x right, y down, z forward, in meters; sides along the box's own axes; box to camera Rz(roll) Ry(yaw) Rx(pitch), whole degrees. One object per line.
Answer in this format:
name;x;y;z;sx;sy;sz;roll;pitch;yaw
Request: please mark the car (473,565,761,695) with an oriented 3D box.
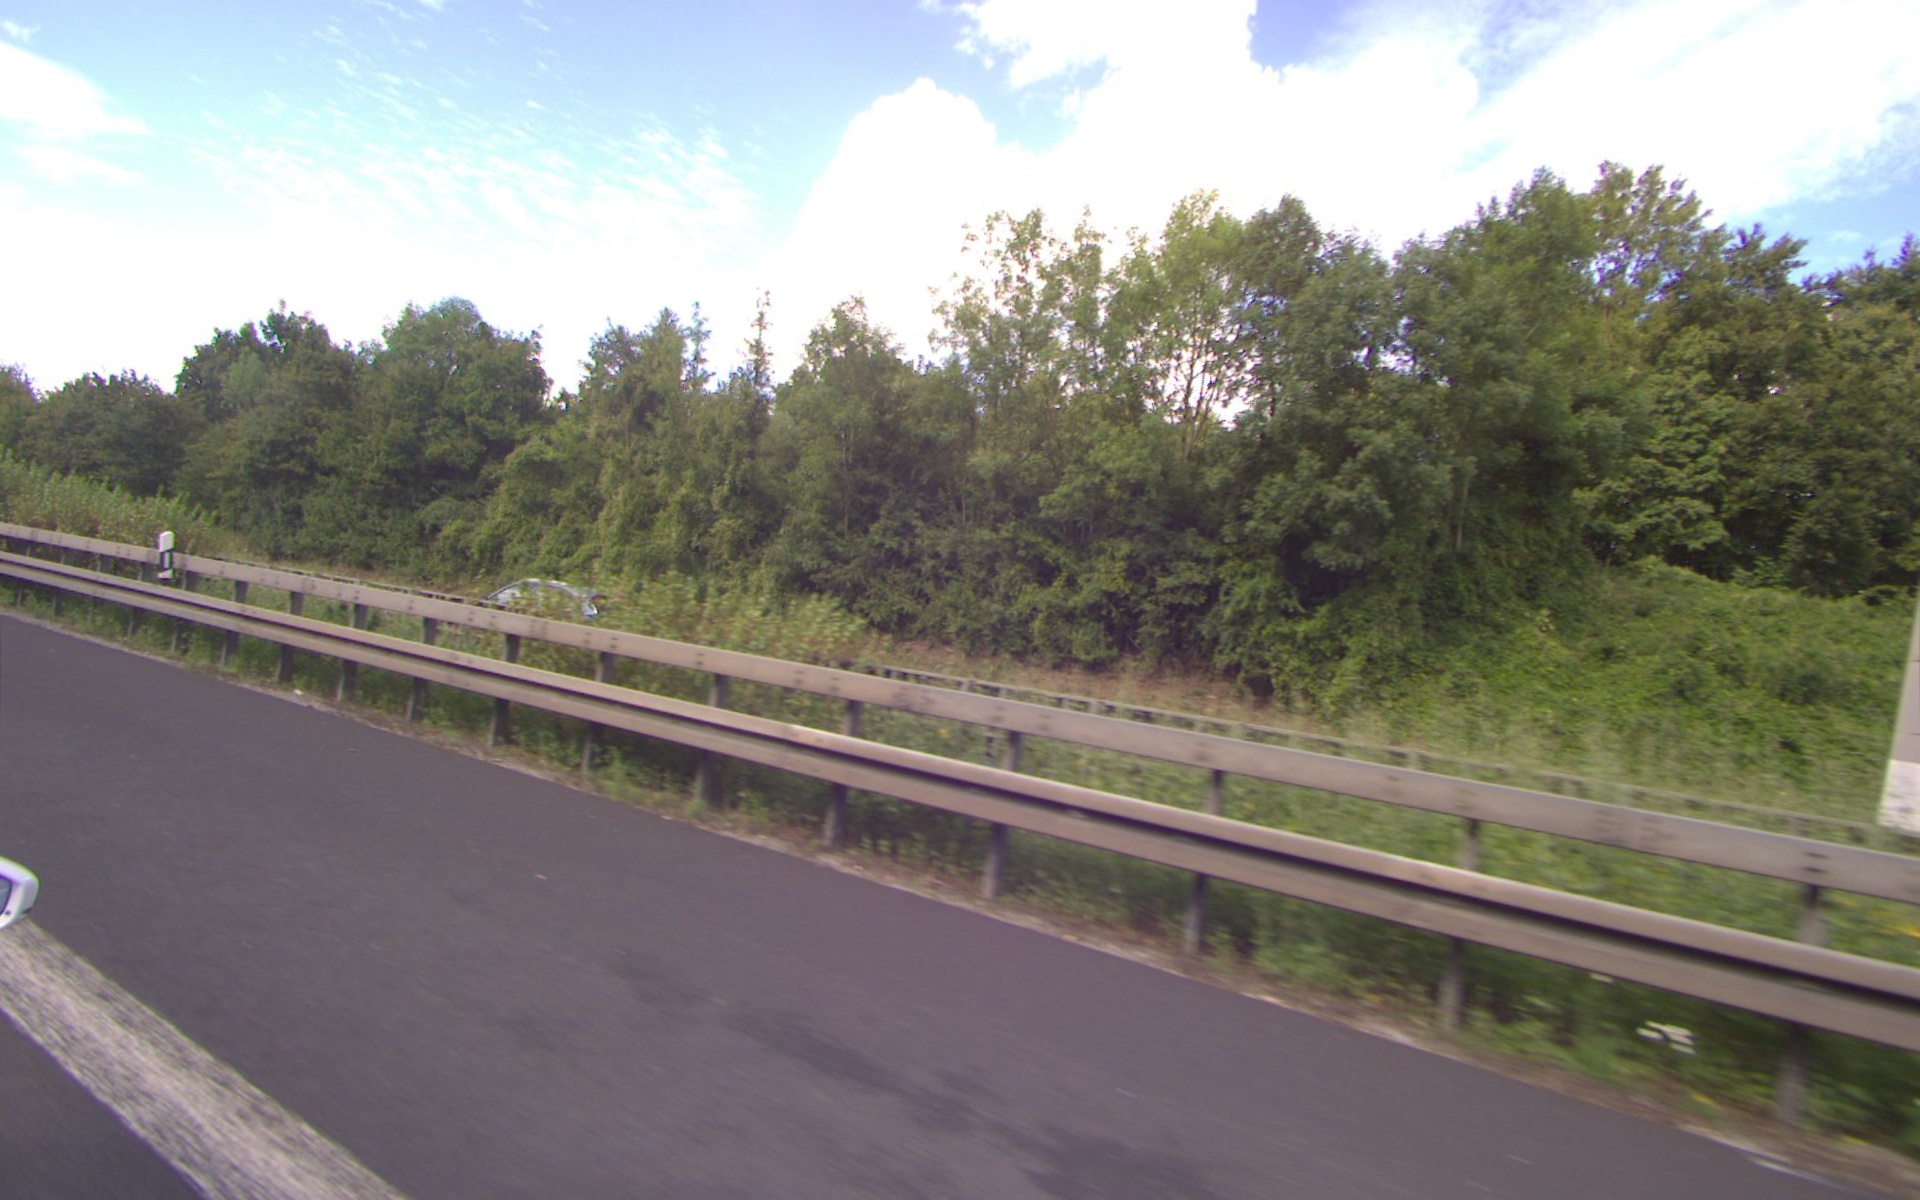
car;-5.976;0.514;17.508;4.591;1.536;1.791;8;-2;23
